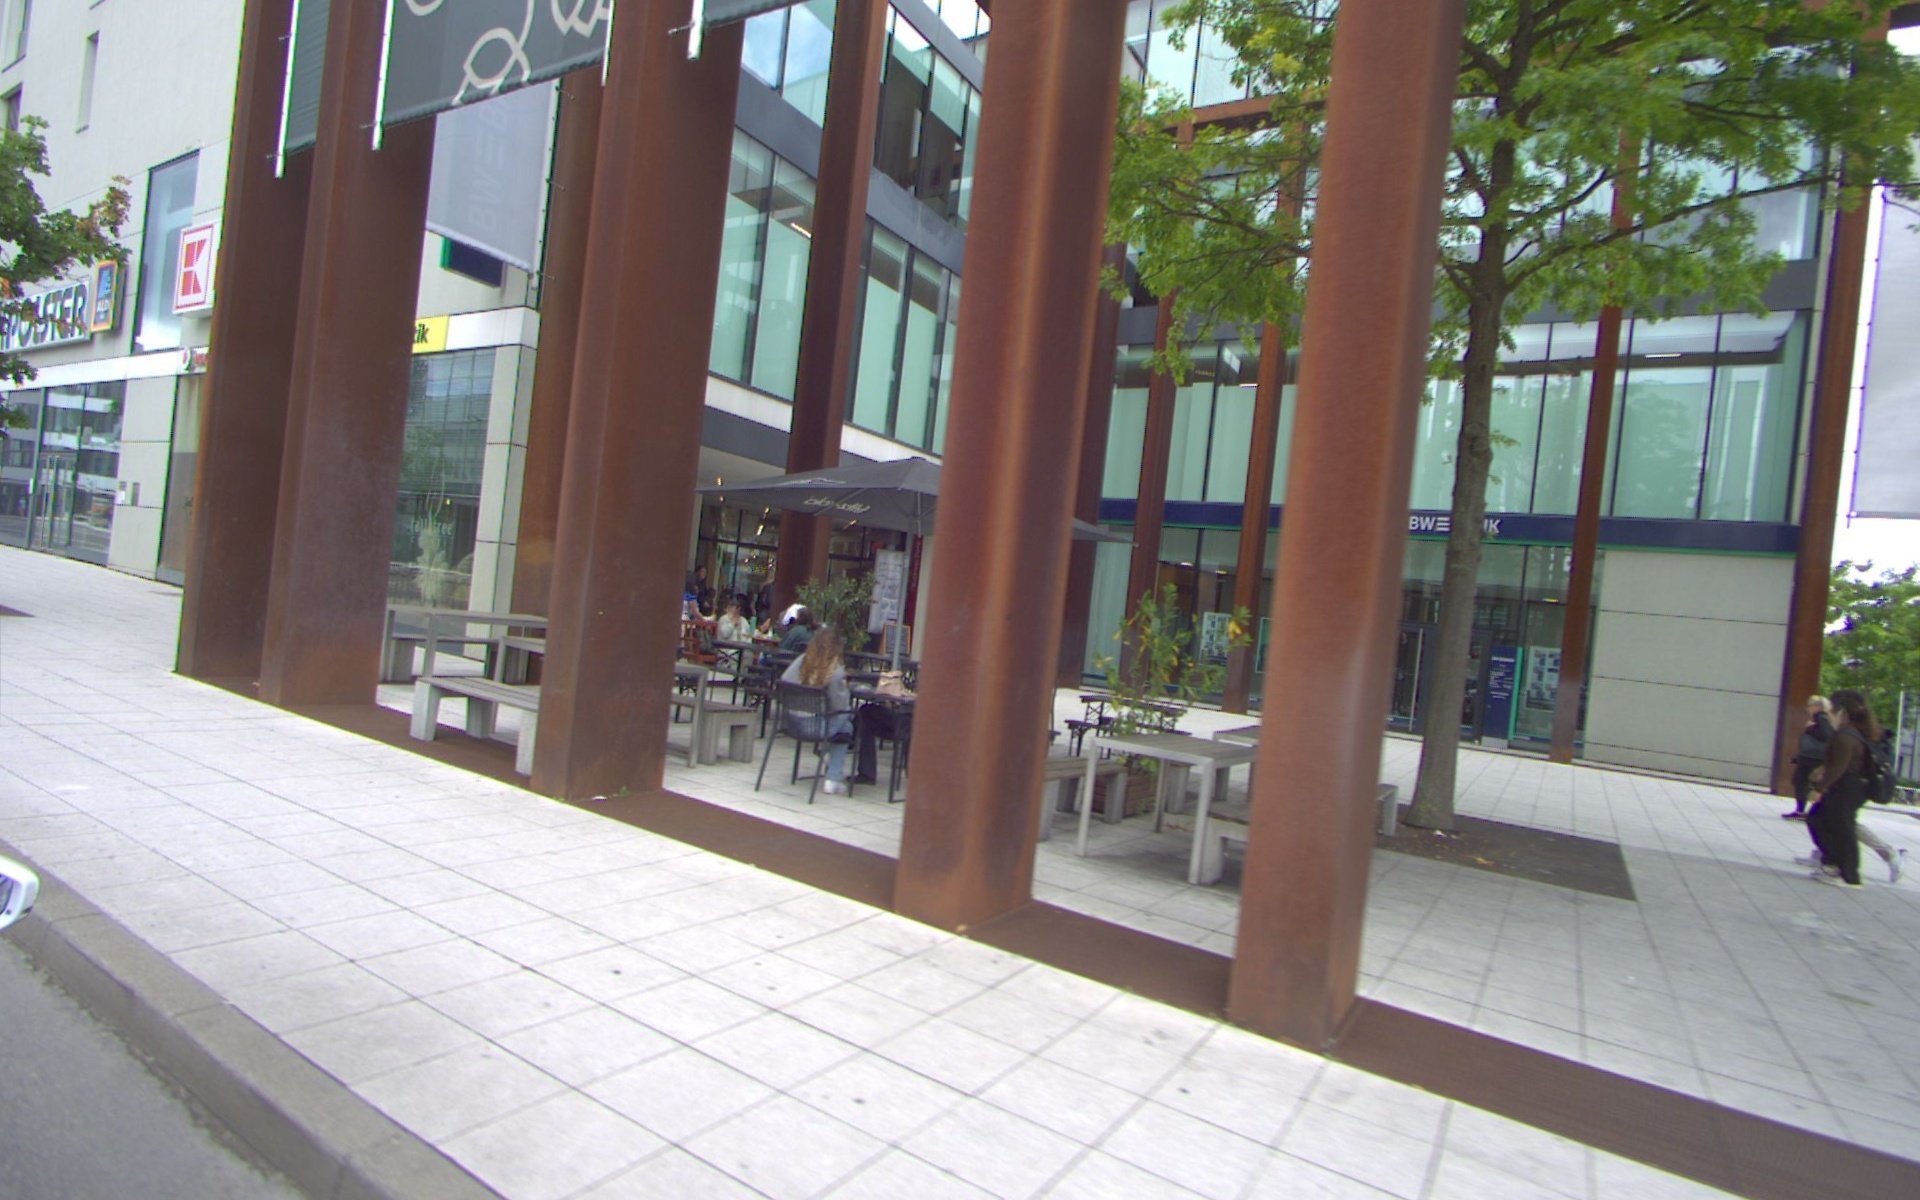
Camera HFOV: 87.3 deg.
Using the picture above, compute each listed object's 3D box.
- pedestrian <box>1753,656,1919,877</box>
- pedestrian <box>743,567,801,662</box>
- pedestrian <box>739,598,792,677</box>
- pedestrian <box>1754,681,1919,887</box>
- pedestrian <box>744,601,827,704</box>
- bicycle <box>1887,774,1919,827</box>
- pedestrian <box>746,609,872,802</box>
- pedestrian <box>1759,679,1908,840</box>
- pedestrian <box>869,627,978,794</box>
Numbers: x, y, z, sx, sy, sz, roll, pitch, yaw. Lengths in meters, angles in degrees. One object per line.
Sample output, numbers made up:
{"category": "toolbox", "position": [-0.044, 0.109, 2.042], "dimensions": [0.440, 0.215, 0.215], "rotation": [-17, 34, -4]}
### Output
{"category": "pedestrian", "position": [7.831, 1.416, 8.811], "dimensions": [1.101, 1.702, 0.880], "rotation": [7, 0, 30]}
{"category": "pedestrian", "position": [-3.465, 0.276, 18.546], "dimensions": [0.724, 1.652, 0.522], "rotation": [7, 0, 35]}
{"category": "pedestrian", "position": [-3.165, 0.615, 16.389], "dimensions": [0.516, 1.200, 0.504], "rotation": [7, 0, 34]}
{"category": "pedestrian", "position": [8.470, 1.701, 9.610], "dimensions": [1.101, 1.702, 0.880], "rotation": [7, 0, 30]}
{"category": "pedestrian", "position": [-2.274, 0.690, 13.143], "dimensions": [0.782, 1.223, 0.516], "rotation": [8, 1, 31]}
{"category": "bicycle", "position": [23.294, 4.863, 23.672], "dimensions": [1.959, 1.115, 0.719], "rotation": [7, 0, 32]}
{"category": "pedestrian", "position": [-1.056, 0.721, 7.025], "dimensions": [0.597, 1.235, 0.448], "rotation": [7, 0, 35]}
{"category": "pedestrian", "position": [10.967, 1.957, 12.685], "dimensions": [1.101, 1.789, 0.880], "rotation": [7, 0, 30]}
{"category": "pedestrian", "position": [-0.295, 0.878, 8.104], "dimensions": [0.597, 1.235, 0.447], "rotation": [7, 0, 37]}
